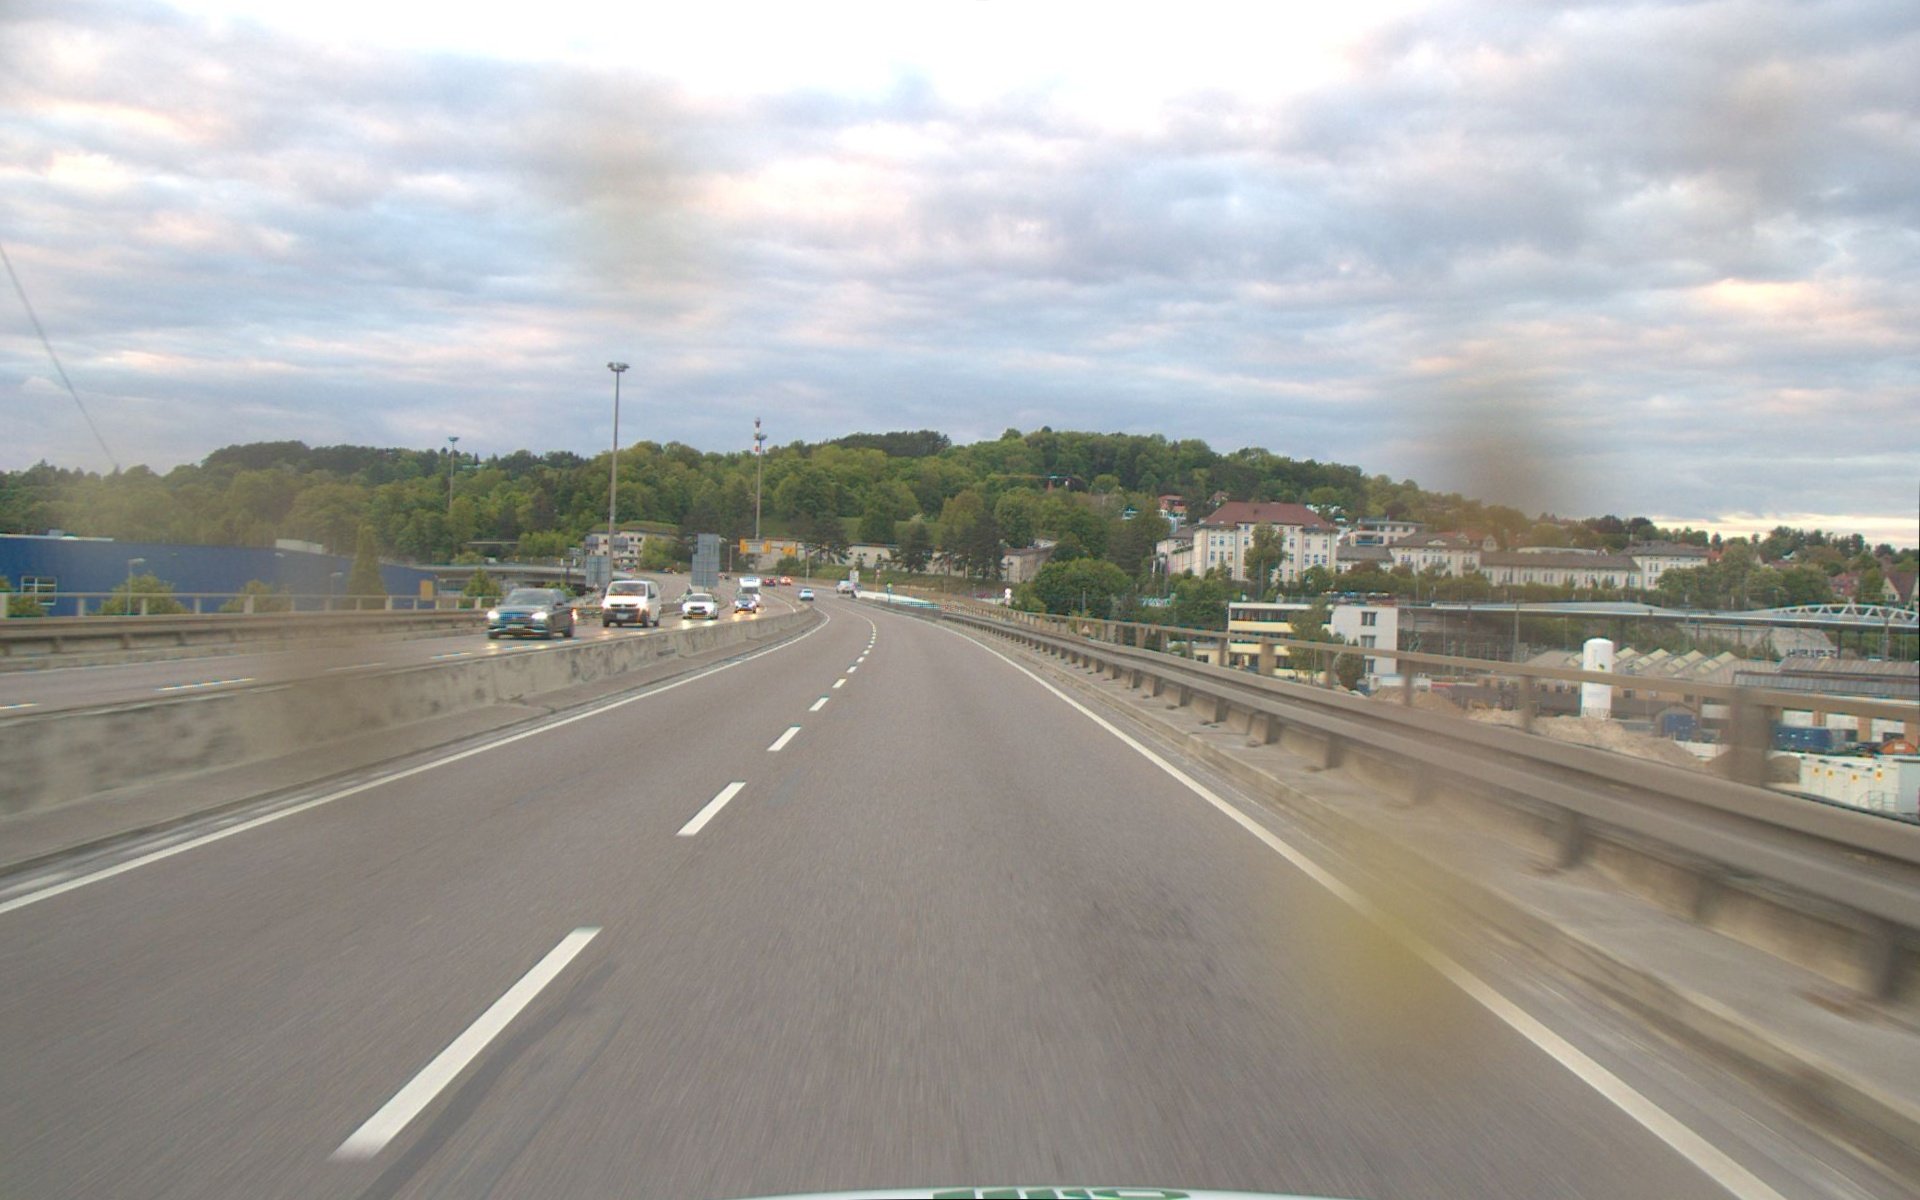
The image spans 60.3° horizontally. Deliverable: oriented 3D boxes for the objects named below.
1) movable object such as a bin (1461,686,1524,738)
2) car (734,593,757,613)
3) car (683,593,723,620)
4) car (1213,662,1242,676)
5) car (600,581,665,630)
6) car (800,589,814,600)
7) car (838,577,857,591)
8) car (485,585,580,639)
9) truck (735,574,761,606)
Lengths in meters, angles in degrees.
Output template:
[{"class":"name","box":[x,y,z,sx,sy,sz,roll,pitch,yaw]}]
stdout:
[{"class":"movable object such as a bin","box":[52.140,10.951,161.943,4.869,4.383,2.769,8,-1,-20]},{"class":"car","box":[-17.050,0.223,131.378,1.597,1.466,3.833,1,1,-4]},{"class":"car","box":[-14.932,0.382,96.238,1.794,1.529,4.813,0,0,-3]},{"class":"car","box":[37.829,9.707,234.018,3.960,1.592,1.808,6,1,-39]},{"class":"car","box":[-13.801,0.220,69.994,1.863,1.934,5.456,1,0,-3]},{"class":"car","box":[-20.486,-0.718,221.715,1.601,1.412,3.992,1,2,-9]},{"class":"car","box":[-17.507,-2.461,256.490,1.963,2.048,4.088,2,2,-18]},{"class":"car","box":[-12.759,0.316,49.681,1.792,1.500,4.898,1,1,-3]},{"class":"truck","box":[-22.616,-1.024,176.864,2.486,3.354,7.436,1,0,-6]}]
